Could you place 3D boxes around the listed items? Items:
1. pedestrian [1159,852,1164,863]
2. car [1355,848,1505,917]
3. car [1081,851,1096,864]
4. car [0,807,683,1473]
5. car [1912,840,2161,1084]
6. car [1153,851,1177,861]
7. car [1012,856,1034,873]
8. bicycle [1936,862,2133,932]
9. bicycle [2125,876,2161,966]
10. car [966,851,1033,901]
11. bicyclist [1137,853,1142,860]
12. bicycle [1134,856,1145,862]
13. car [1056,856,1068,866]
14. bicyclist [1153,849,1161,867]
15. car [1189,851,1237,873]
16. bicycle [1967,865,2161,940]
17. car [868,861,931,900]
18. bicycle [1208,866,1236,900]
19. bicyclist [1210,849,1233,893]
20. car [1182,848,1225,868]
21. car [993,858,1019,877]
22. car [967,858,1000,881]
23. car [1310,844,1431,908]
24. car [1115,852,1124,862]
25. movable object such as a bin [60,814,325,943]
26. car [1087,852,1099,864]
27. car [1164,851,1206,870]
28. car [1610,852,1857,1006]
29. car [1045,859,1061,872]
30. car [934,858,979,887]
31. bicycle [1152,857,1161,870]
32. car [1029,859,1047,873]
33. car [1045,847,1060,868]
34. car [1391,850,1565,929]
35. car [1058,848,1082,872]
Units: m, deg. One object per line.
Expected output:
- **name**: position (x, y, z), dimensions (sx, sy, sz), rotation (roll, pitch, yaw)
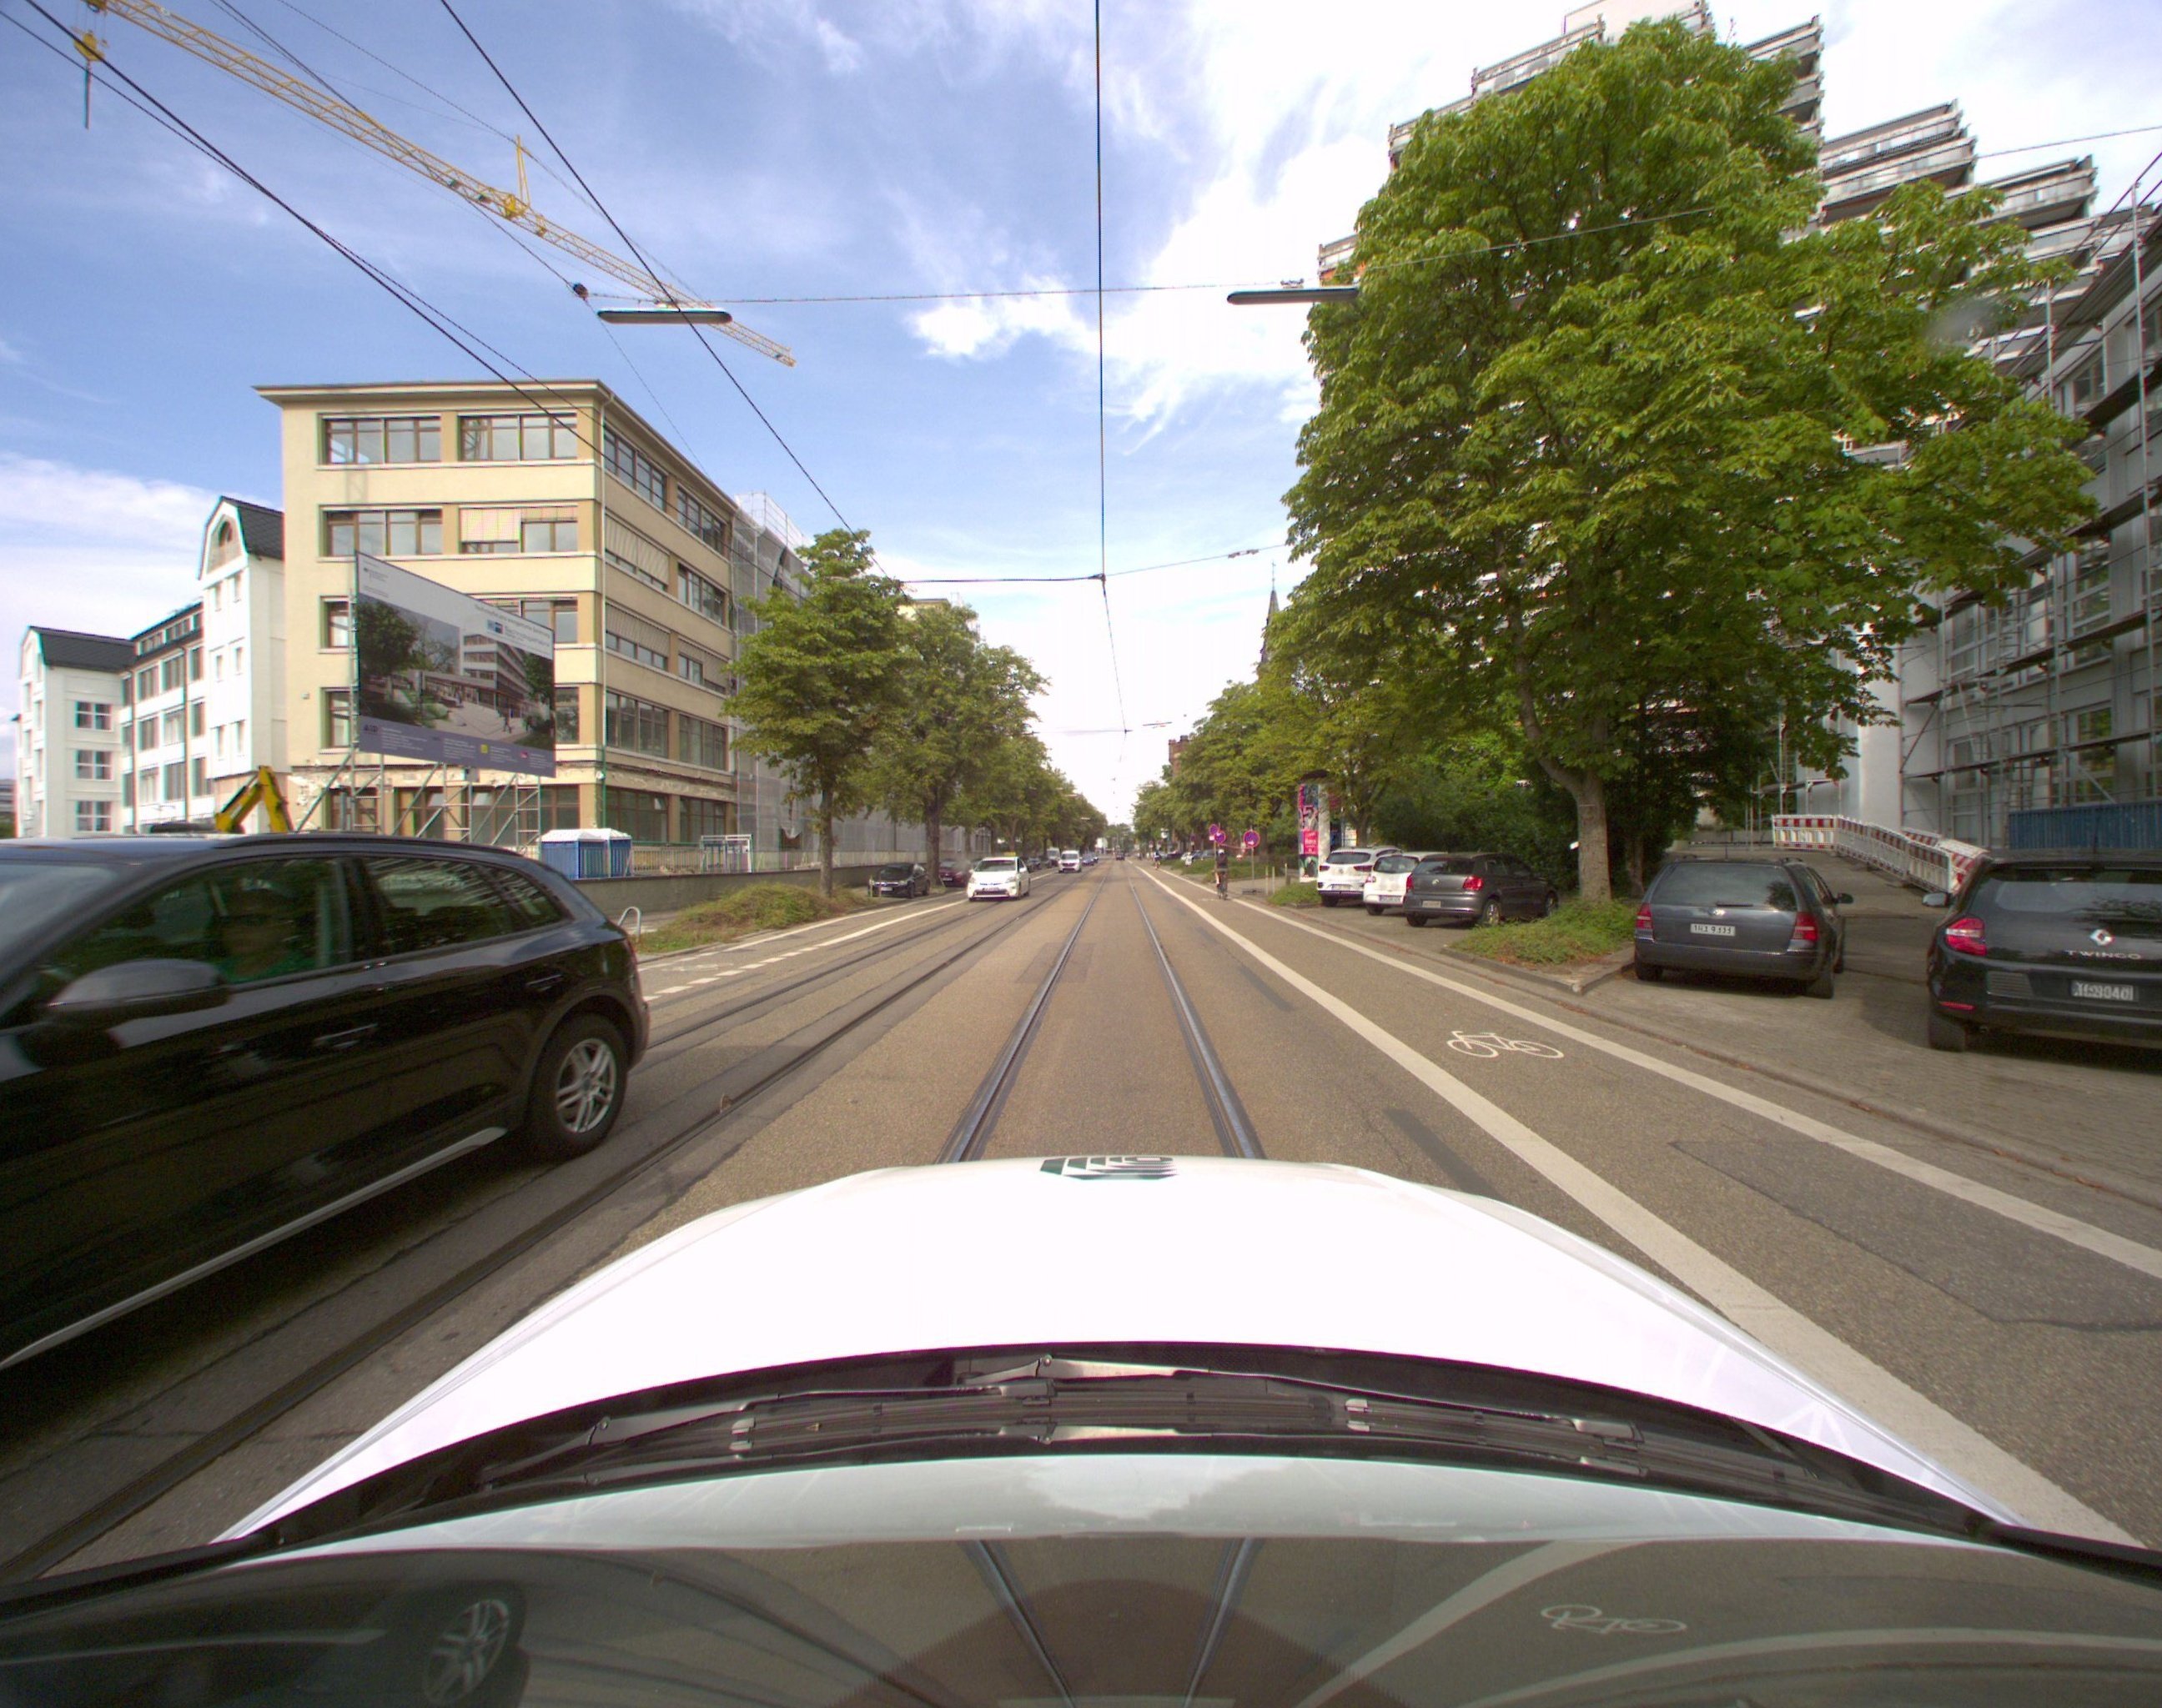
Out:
- **pedestrian**: position (14.277, 0.608, 144.346), dimensions (0.742, 1.790, 0.734), rotation (-1, -1, 17)
- **car**: position (8.294, 0.624, 19.267), dimensions (3.663, 1.474, 1.663), rotation (0, -1, -37)
- **car**: position (0.950, 0.428, 101.486), dimensions (1.725, 1.496, 4.381), rotation (-1, 0, 2)
- **car**: position (-3.500, 0.698, 2.922), dimensions (1.840, 1.612, 4.337), rotation (-1, 0, 2)
- **car**: position (7.887, 0.667, 6.492), dimensions (3.436, 1.537, 1.577), rotation (-1, 0, -41)
- **car**: position (14.854, 0.392, 144.627), dimensions (3.978, 1.693, 1.998), rotation (-1, 0, -3)
- **car**: position (-5.178, 0.926, 73.020), dimensions (1.585, 1.402, 3.962), rotation (0, 0, 0)
- **bicycle**: position (15.115, 0.647, 13.000), dimensions (1.952, 1.043, 0.598), rotation (0, 0, 39)
- **bicycle**: position (13.614, 0.782, 9.427), dimensions (1.817, 1.043, 0.456), rotation (-2, -1, 31)
- **car**: position (-2.815, 0.728, 28.996), dimensions (1.725, 1.612, 4.337), rotation (-1, 0, 2)
- **bicyclist**: position (11.987, 0.564, 166.968), dimensions (0.841, 1.504, 0.771), rotation (-1, 0, 10)
- **bicycle**: position (12.027, 1.032, 166.955), dimensions (2.260, 1.189, 0.771), rotation (0, 0, 10)
- **car**: position (-2.822, 0.959, 119.247), dimensions (1.585, 1.402, 3.962), rotation (0, 0, 0)
- **bicyclist**: position (6.452, 0.348, 69.381), dimensions (0.656, 1.496, 0.930), rotation (-1, 0, 3)
- **car**: position (9.995, 0.595, 61.517), dimensions (3.667, 1.602, 1.661), rotation (0, -1, -43)
- **bicycle**: position (14.750, 0.695, 12.165), dimensions (1.952, 1.043, 0.598), rotation (-1, 0, 30)
- **car**: position (-7.173, 1.019, 32.567), dimensions (1.585, 1.402, 3.962), rotation (0, 0, 0)
- **bicycle**: position (4.689, 0.953, 27.197), dimensions (0.591, 1.043, 1.978), rotation (-1, 0, 0)
- **bicyclist**: position (4.689, 0.551, 27.200), dimensions (0.591, 1.459, 0.875), rotation (-1, 0, 0)
- **car**: position (10.312, 0.311, 68.316), dimensions (3.667, 1.602, 1.661), rotation (0, -1, -43)
- **car**: position (-5.782, 0.995, 62.727), dimensions (1.585, 1.402, 3.962), rotation (0, 0, 0)
- **car**: position (-6.238, 0.953, 52.419), dimensions (1.585, 1.402, 3.962), rotation (0, 0, 0)
- **car**: position (8.050, 0.562, 22.492), dimensions (3.667, 1.602, 1.661), rotation (0, -1, -43)
- **car**: position (7.670, 0.581, 163.865), dimensions (1.788, 1.824, 4.680), rotation (0, 0, 2)
- **movable object such as a bin**: position (-18.353, 0.495, 16.962), dimensions (3.030, 2.443, 2.506), rotation (-1, -1, 12)
- **car**: position (1.950, 0.602, 126.385), dimensions (1.726, 1.628, 4.380), rotation (-2, 0, 2)
- **car**: position (9.004, 0.546, 70.494), dimensions (3.667, 1.602, 1.661), rotation (0, -1, -43)
- **car**: position (7.882, 0.703, 9.680), dimensions (4.194, 1.415, 1.794), rotation (0, -1, -45)
- **car**: position (-3.178, 1.270, 93.397), dimensions (1.585, 1.402, 3.962), rotation (0, 0, 0)
- **car**: position (-6.554, 0.945, 43.219), dimensions (1.629, 1.496, 3.964), rotation (0, 0, 2)
- **bicycle**: position (6.452, 0.808, 69.376), dimensions (0.661, 1.043, 1.842), rotation (-1, 0, 3)
- **car**: position (-4.378, 1.195, 83.225), dimensions (1.585, 1.402, 3.962), rotation (0, 0, 0)
- **car**: position (-3.667, 0.465, 106.777), dimensions (1.715, 2.704, 5.470), rotation (0, 0, 0)
- **car**: position (8.024, 0.641, 16.344), dimensions (3.663, 1.419, 1.663), rotation (0, -1, -37)
- **car**: position (-0.892, 0.459, 65.752), dimensions (1.726, 1.884, 4.380), rotation (-1, 0, 2)
